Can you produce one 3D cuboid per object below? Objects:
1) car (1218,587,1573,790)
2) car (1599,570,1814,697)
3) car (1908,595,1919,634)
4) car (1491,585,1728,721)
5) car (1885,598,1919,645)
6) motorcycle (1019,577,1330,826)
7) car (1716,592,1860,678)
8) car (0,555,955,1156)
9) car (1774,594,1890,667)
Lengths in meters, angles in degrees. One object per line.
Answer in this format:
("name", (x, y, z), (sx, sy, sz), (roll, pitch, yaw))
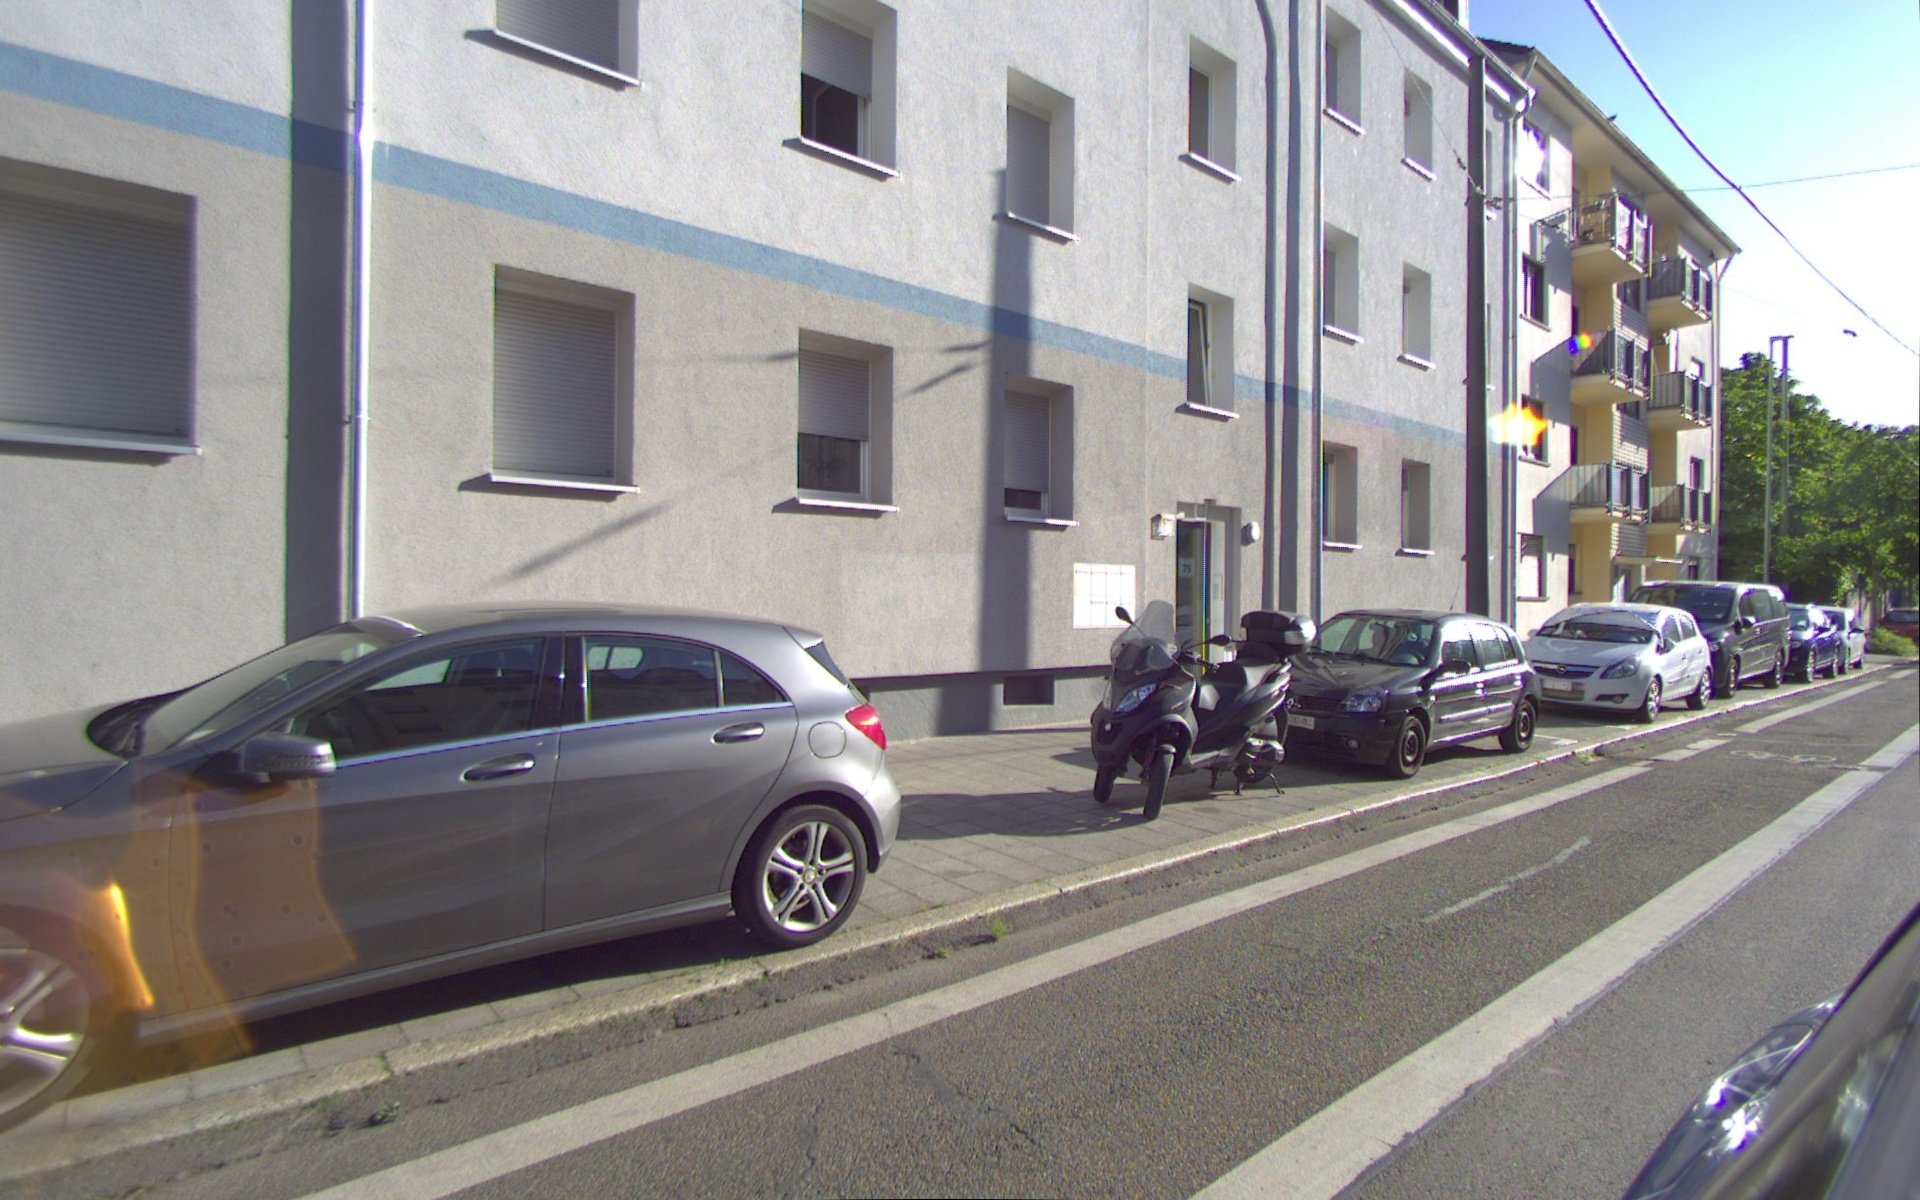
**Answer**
("car", (4.383, 0.698, 9.948), (3.834, 1.590, 1.612), (0, 2, -40))
("car", (13.345, 0.493, 17.980), (4.914, 1.945, 1.934), (0, 2, -40))
("car", (41.579, 0.621, 42.752), (4.401, 1.590, 1.827), (0, 2, -42))
("car", (9.165, 0.626, 14.177), (3.836, 1.590, 1.803), (0, 2, -42))
("car", (34.412, 0.733, 36.034), (4.399, 1.590, 1.612), (0, 2, -41))
("motorcycle", (1.672, 0.621, 7.478), (2.662, 1.540, 0.807), (0, 2, -42))
("car", (17.337, 0.651, 21.130), (4.144, 1.590, 1.612), (0, 2, -41))
("car", (-2.276, 0.639, 4.040), (4.287, 1.574, 1.868), (0, 2, -39))
("car", (20.838, 0.665, 24.155), (3.568, 1.561, 1.556), (0, 2, -41))
